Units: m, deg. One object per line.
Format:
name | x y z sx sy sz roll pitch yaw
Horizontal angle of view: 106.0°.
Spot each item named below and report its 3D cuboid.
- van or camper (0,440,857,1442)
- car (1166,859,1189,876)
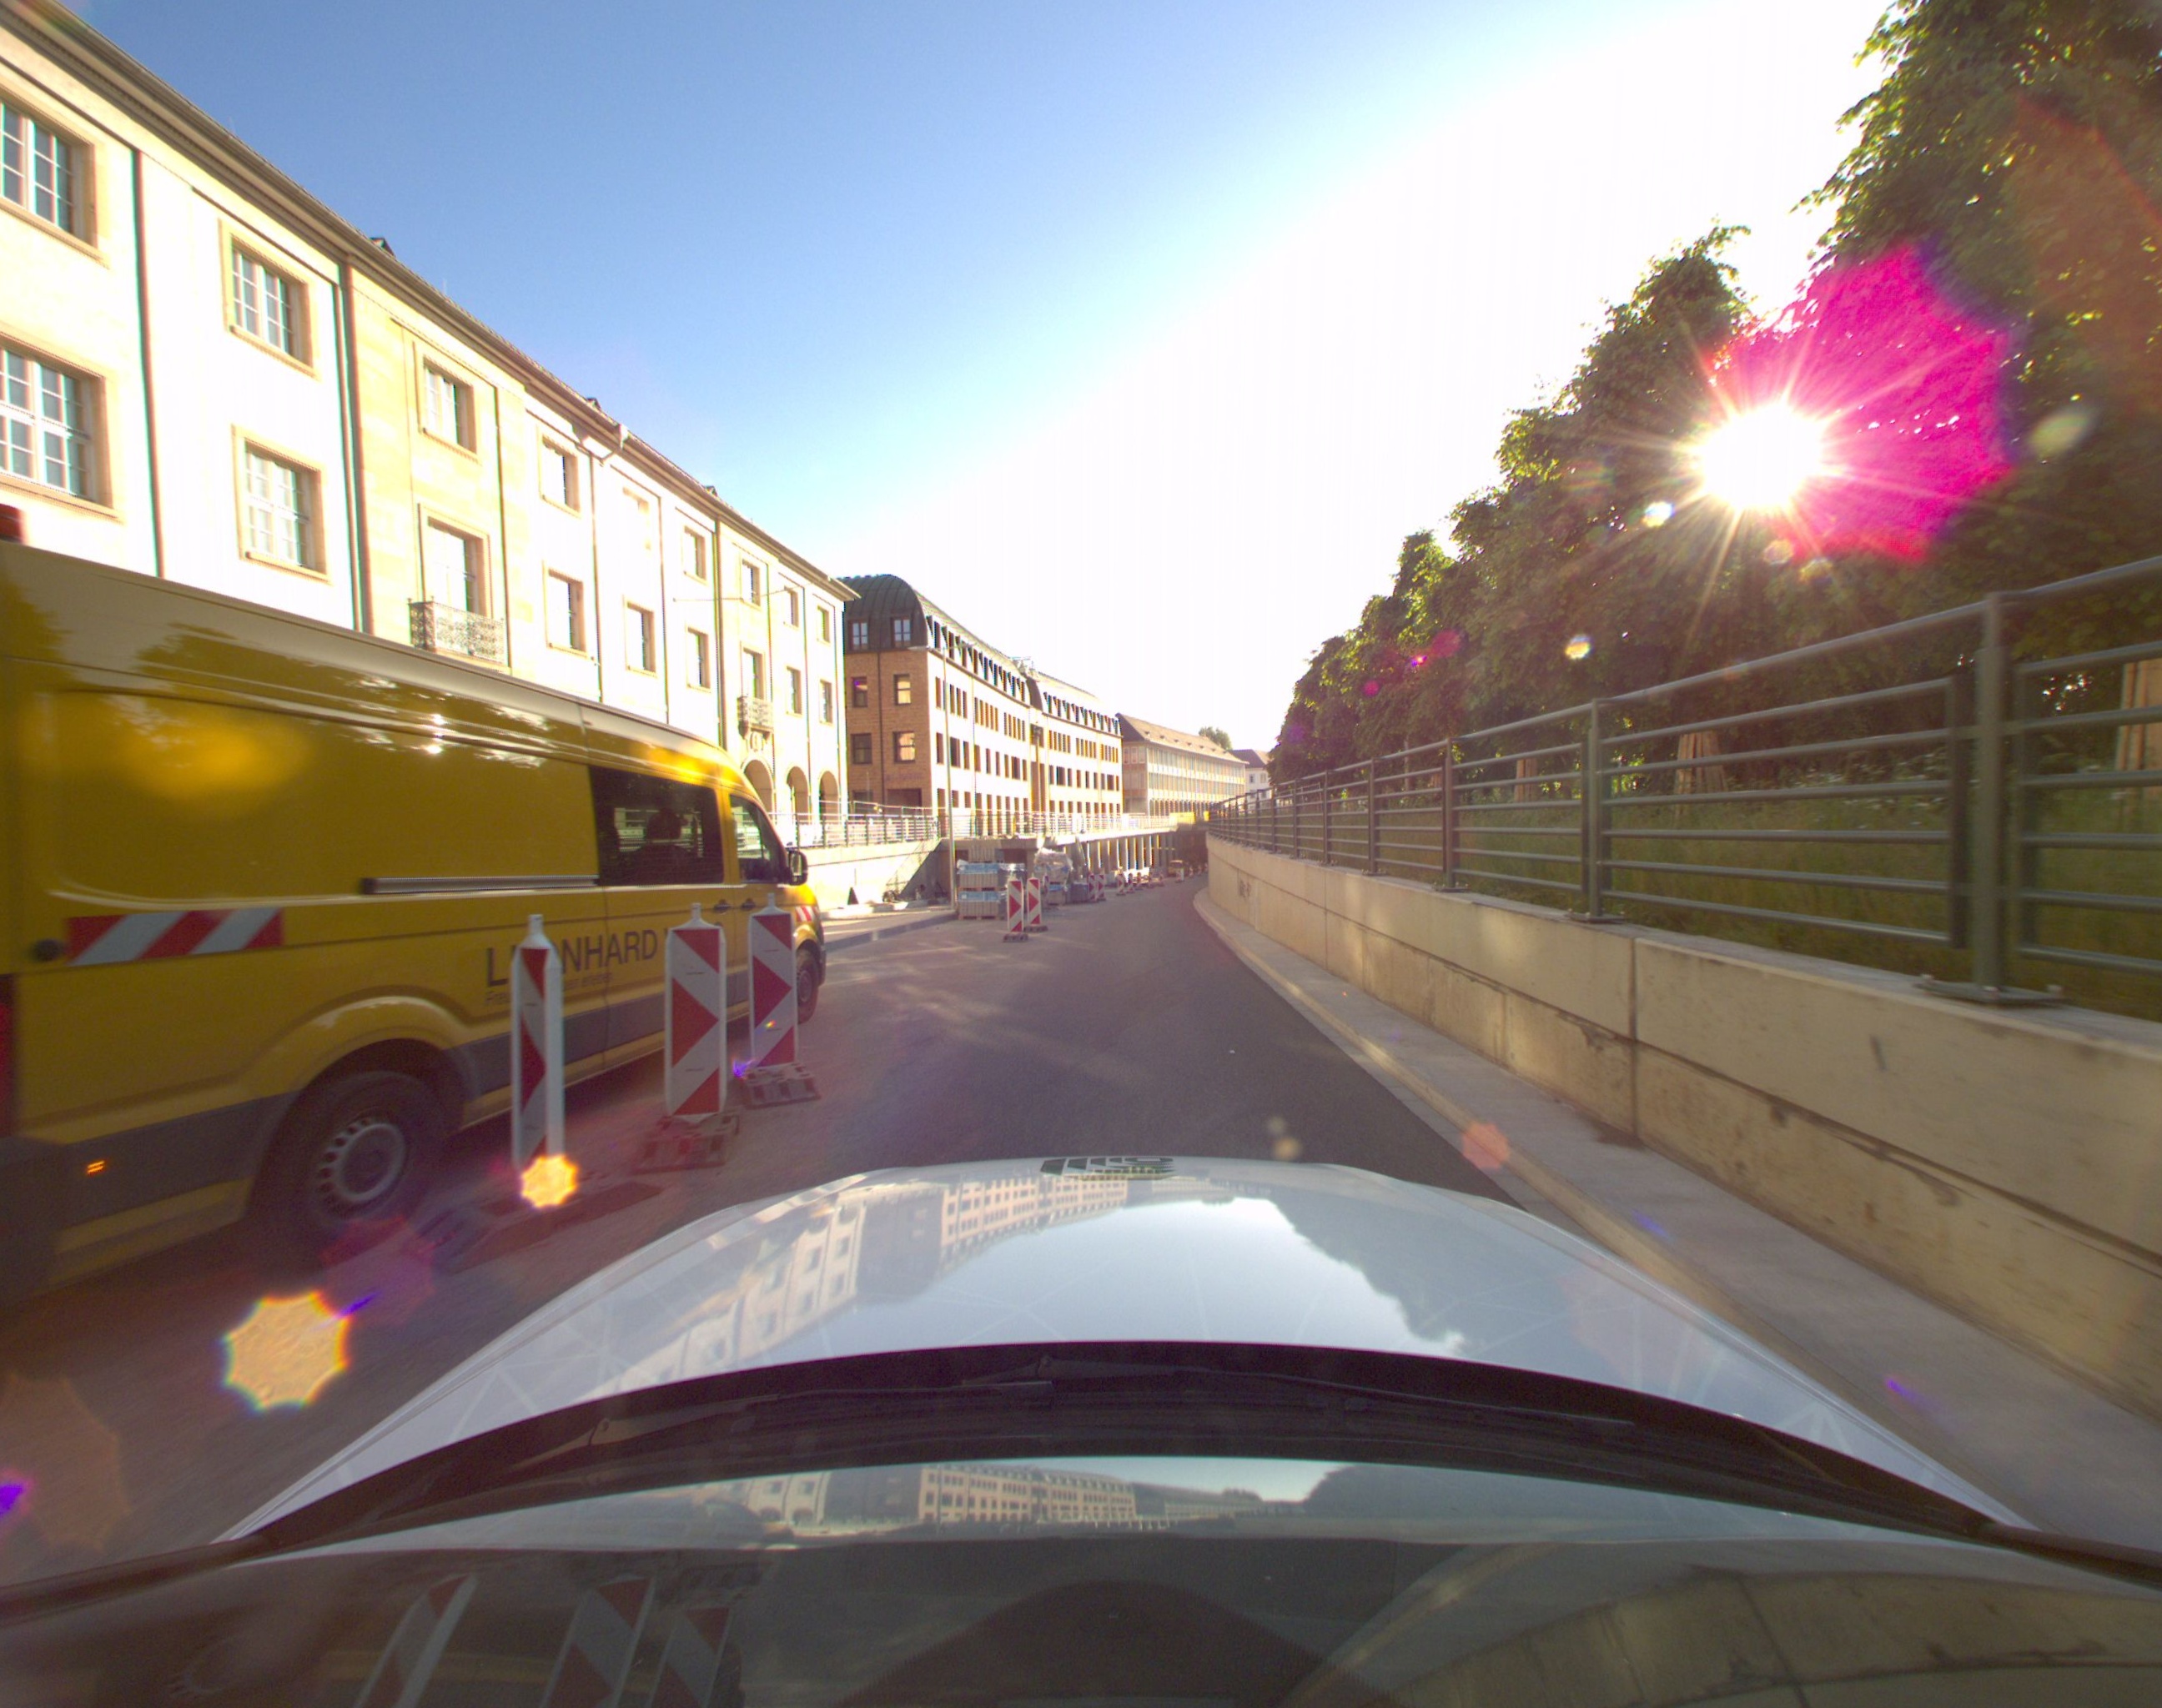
van or camper | -3.731 0.245 5.445 2.184 2.612 6.830 1 0 3
car | 10.741 1.465 90.657 1.834 1.775 4.454 0 1 17
